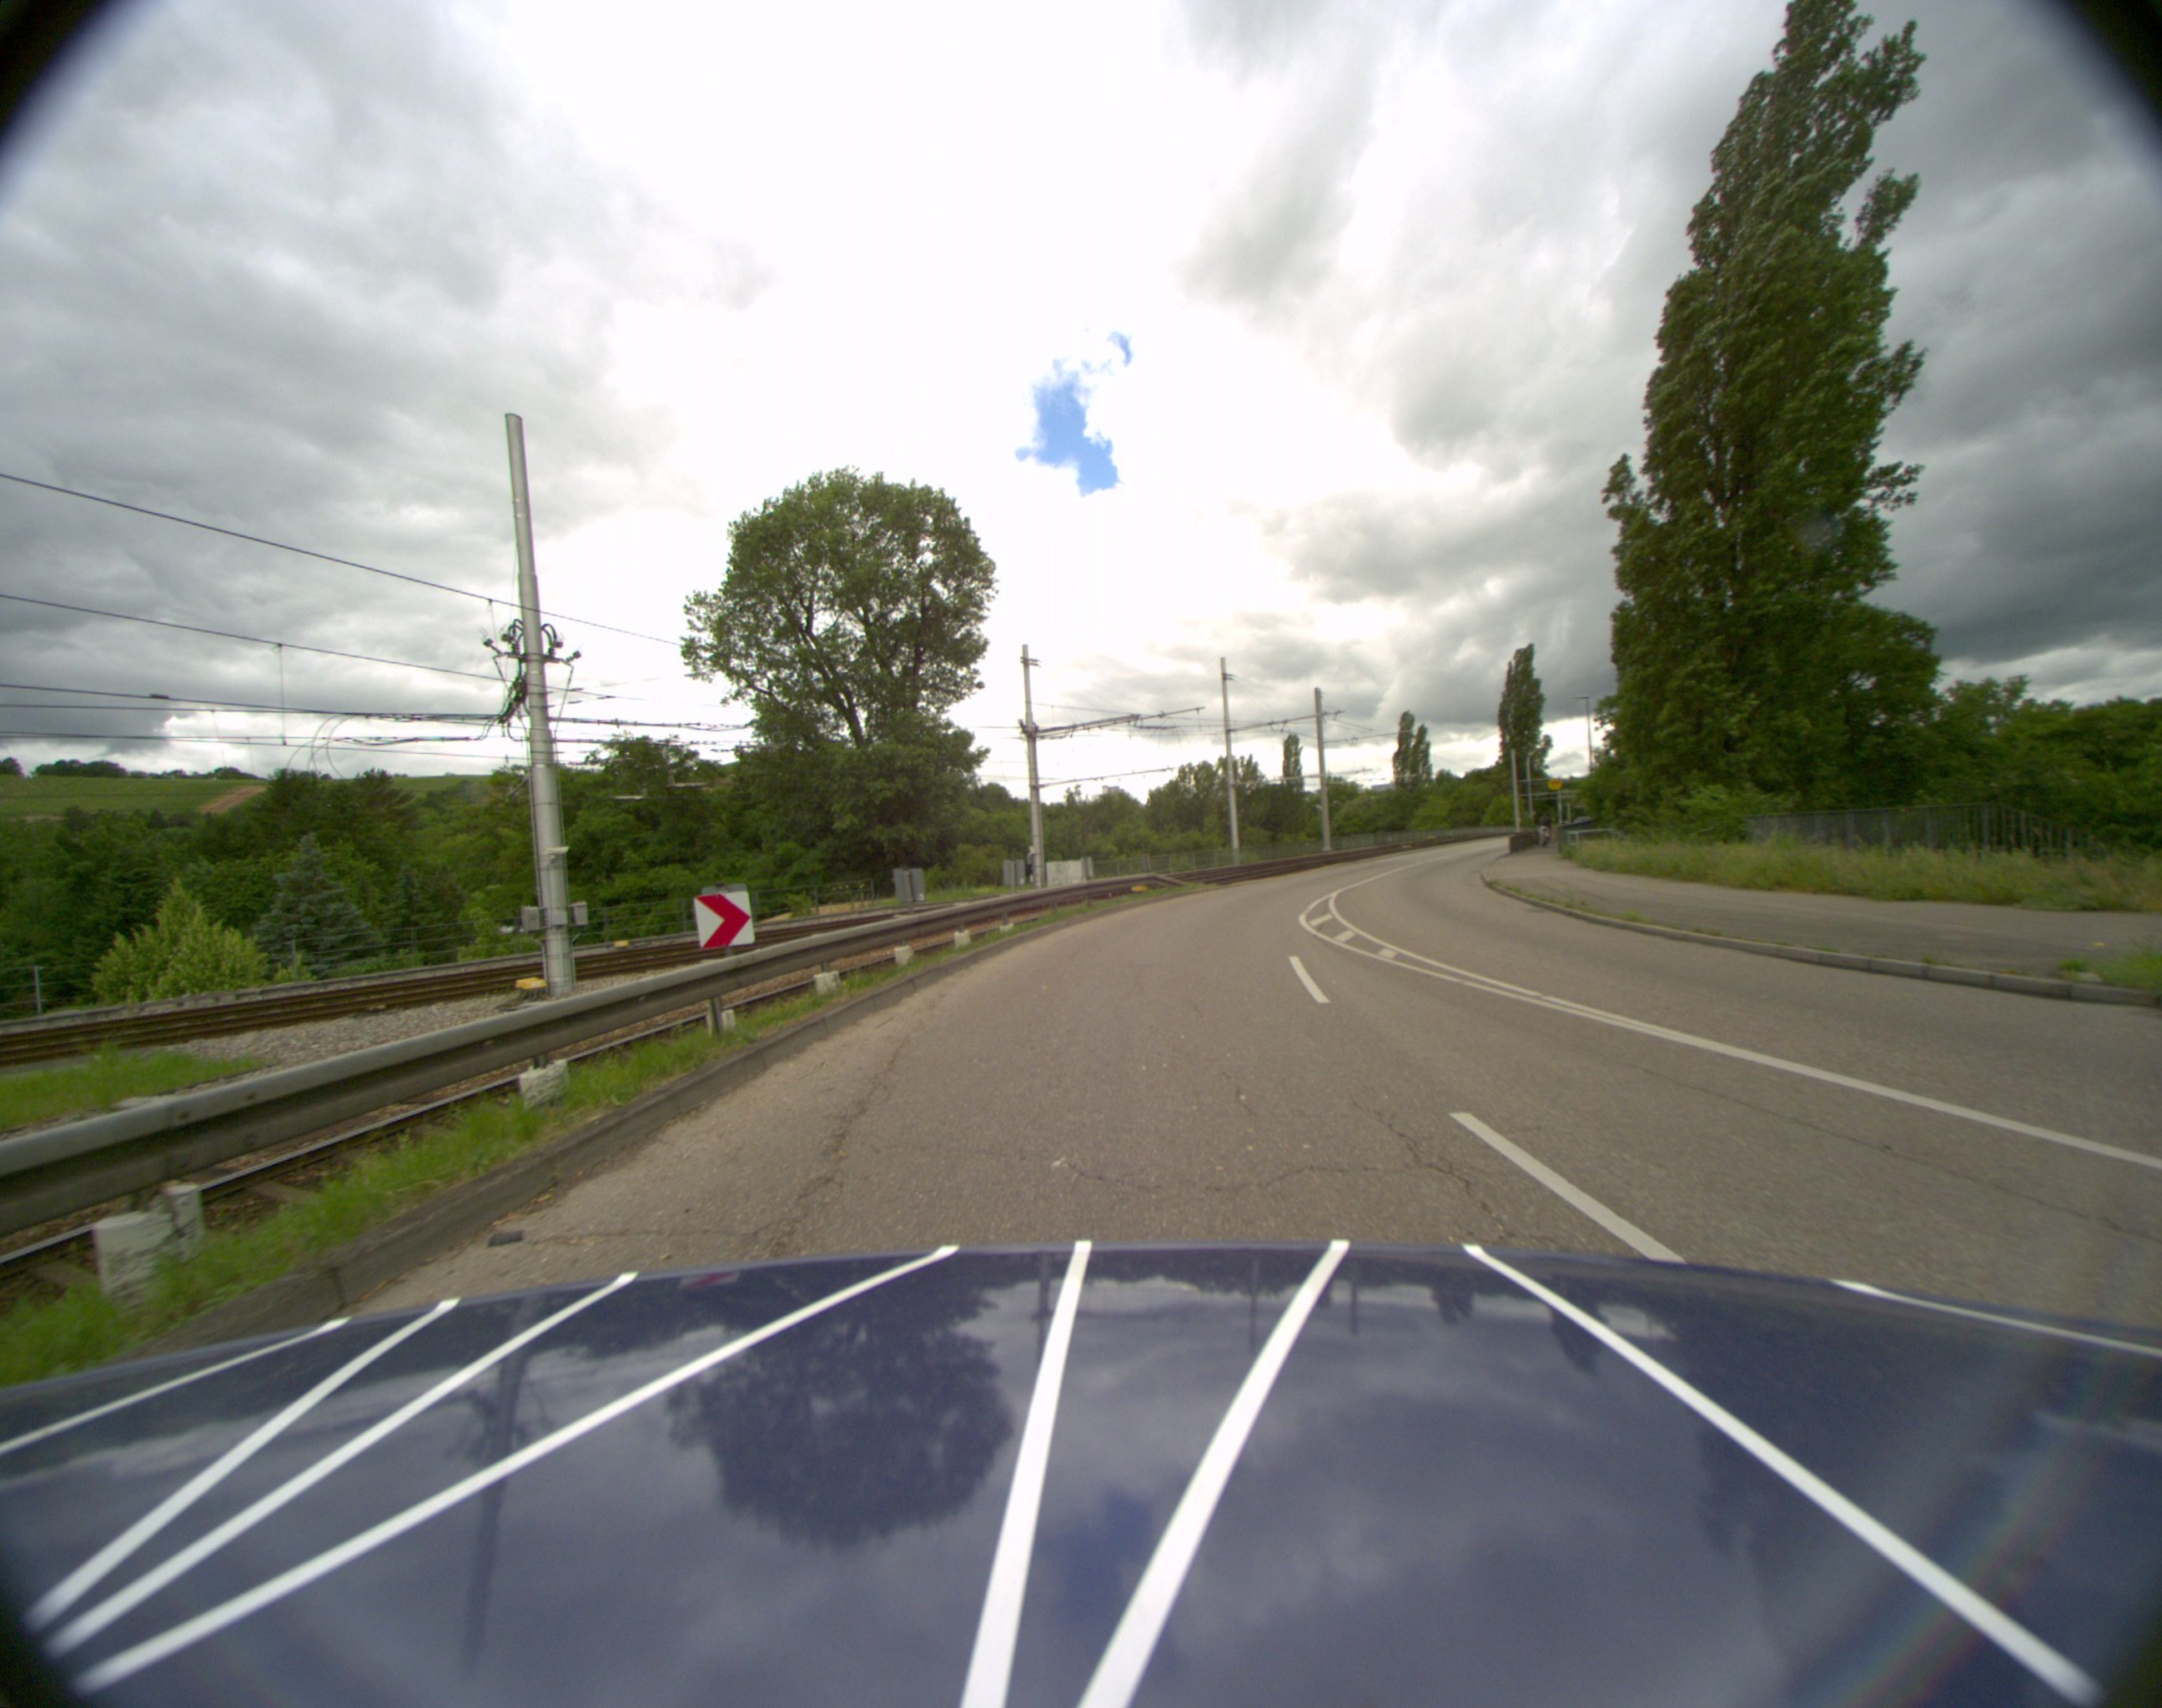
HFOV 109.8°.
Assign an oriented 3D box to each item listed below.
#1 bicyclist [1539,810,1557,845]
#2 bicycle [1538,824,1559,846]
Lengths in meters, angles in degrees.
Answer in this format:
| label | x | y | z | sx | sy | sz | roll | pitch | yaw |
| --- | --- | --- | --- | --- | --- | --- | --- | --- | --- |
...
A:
| label | x | y | z | sx | sy | sz | roll | pitch | yaw |
| --- | --- | --- | --- | --- | --- | --- | --- | --- | --- |
| bicyclist | 24.537 | -1.393 | 39.918 | 0.627 | 1.798 | 0.902 | -4 | 2 | 36 |
| bicycle | 24.538 | -1.011 | 39.859 | 0.736 | 1.065 | 1.884 | -4 | 1 | 36 |
